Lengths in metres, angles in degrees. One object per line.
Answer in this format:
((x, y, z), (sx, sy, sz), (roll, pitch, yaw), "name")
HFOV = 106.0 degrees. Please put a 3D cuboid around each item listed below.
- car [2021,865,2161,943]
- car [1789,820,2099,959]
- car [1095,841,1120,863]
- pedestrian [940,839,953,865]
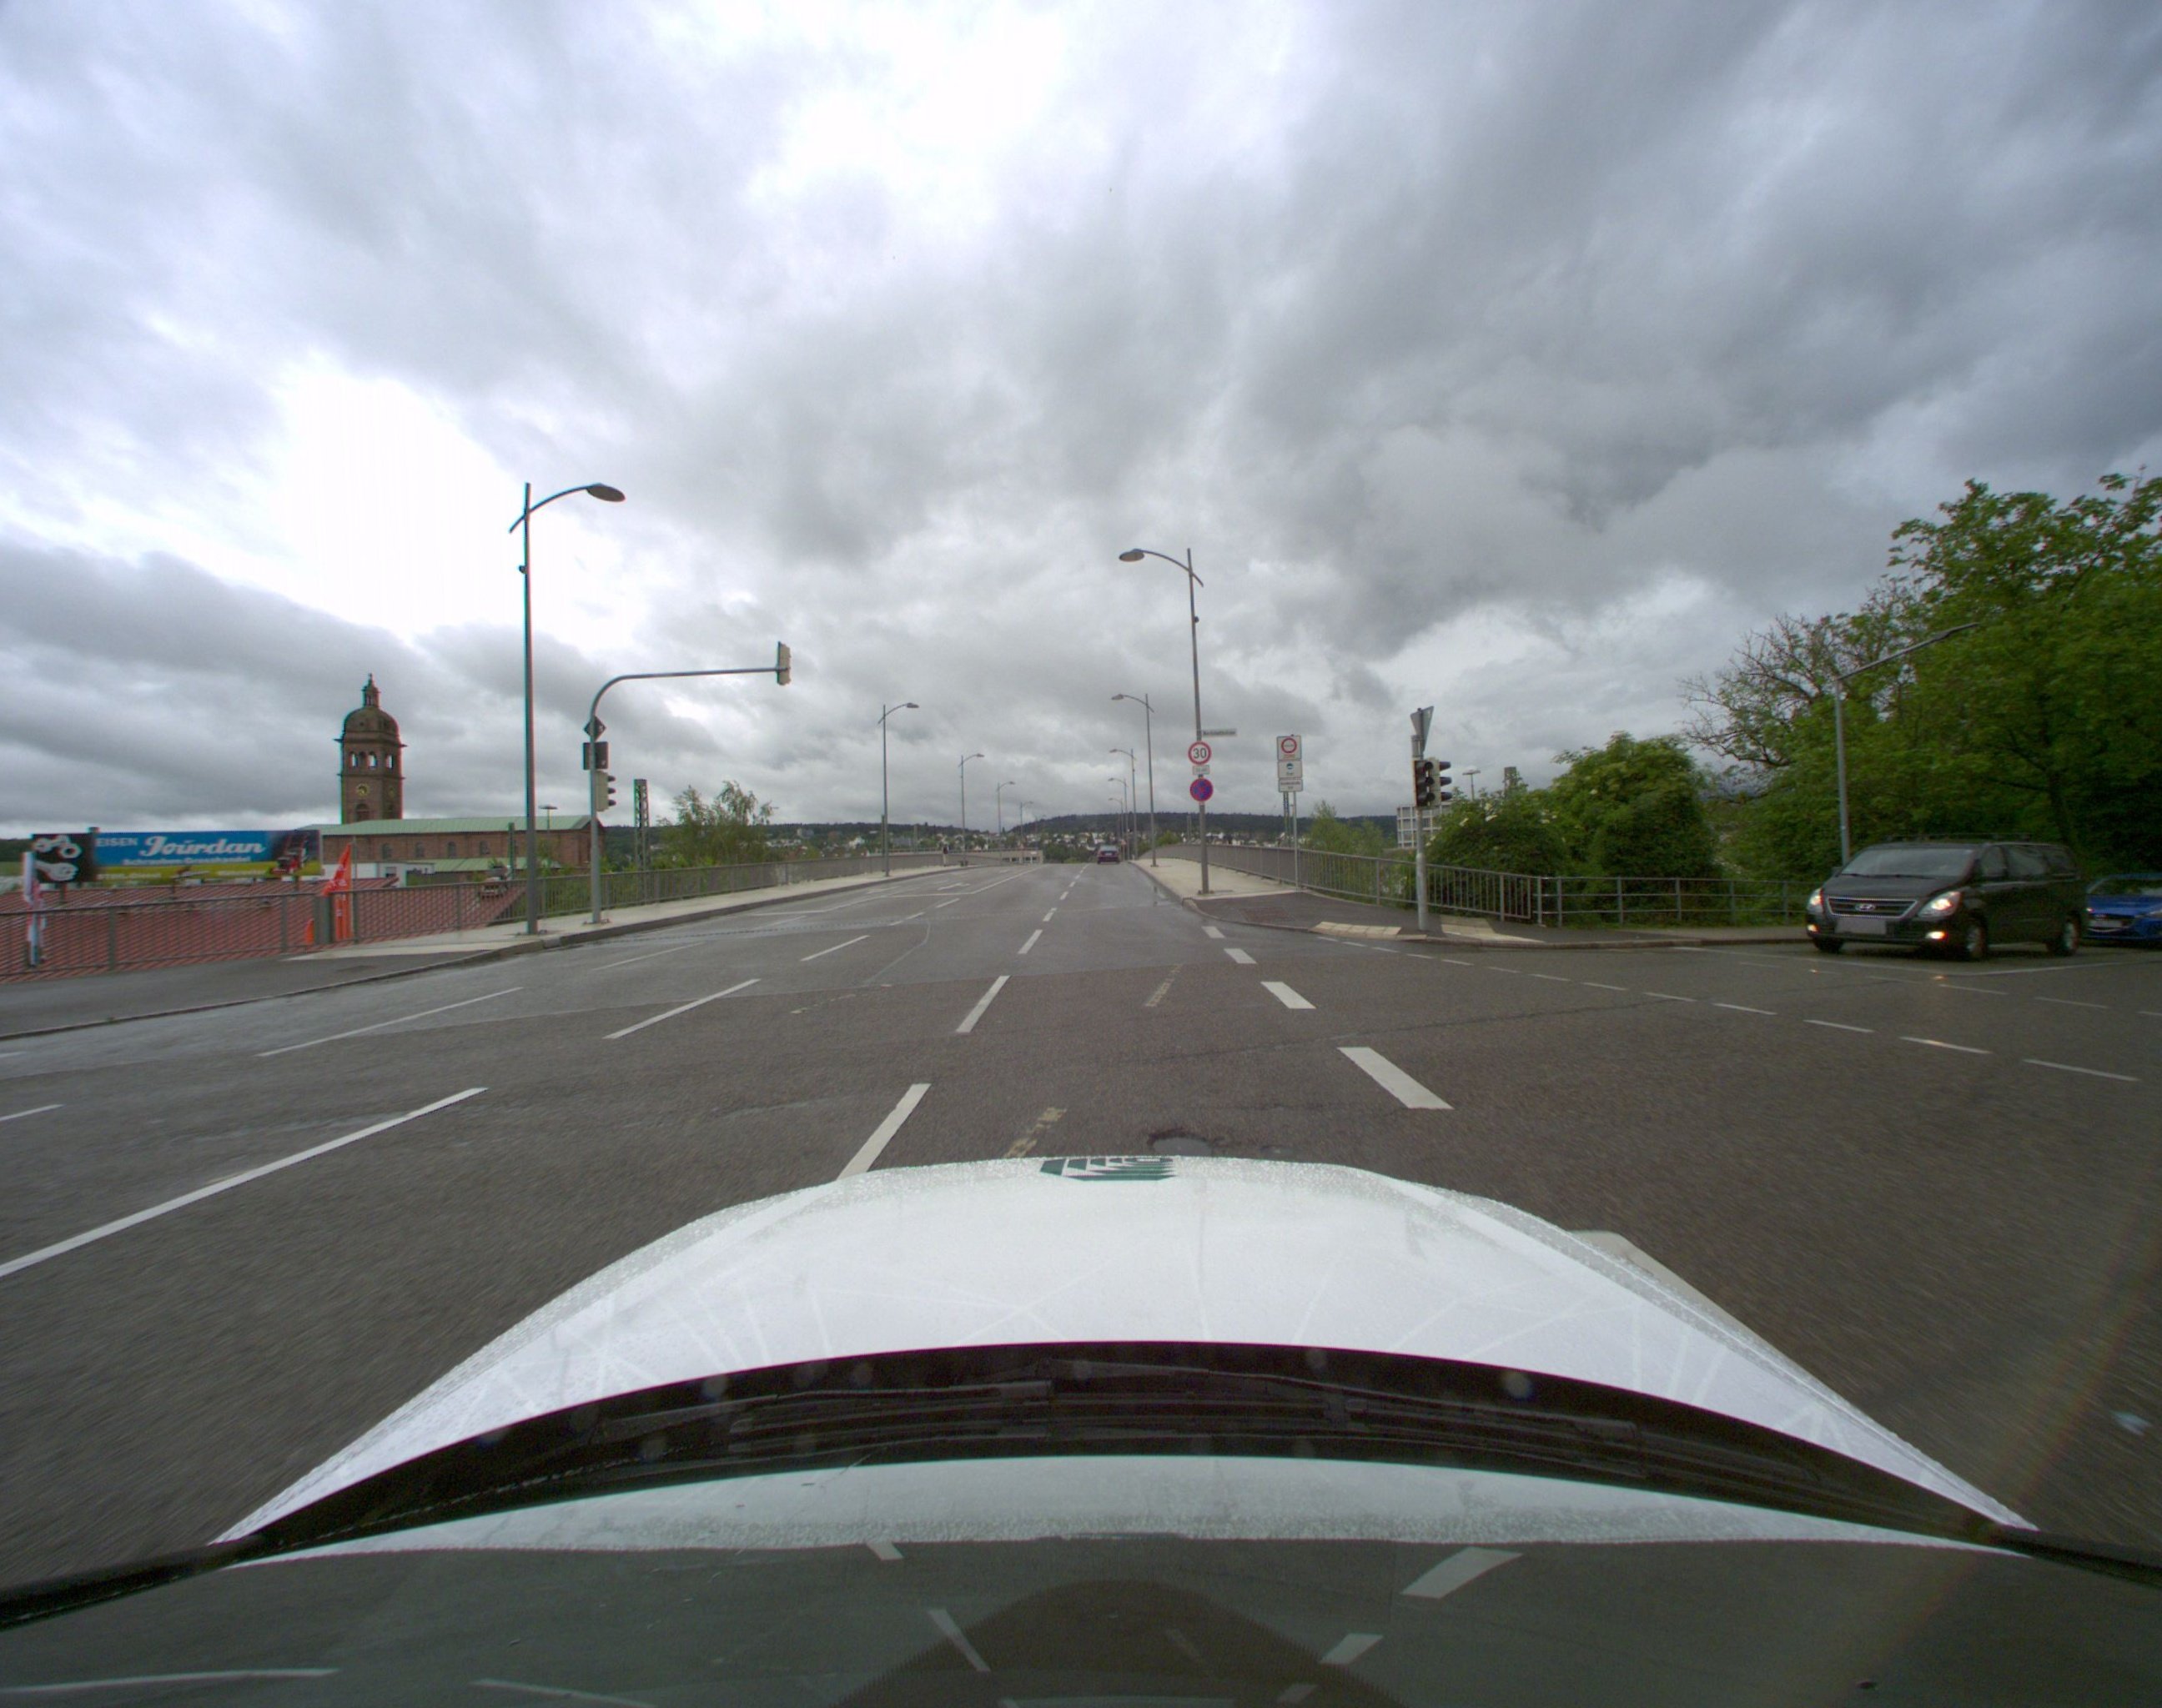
((21.448, 0.960, 16.442), (4.345, 1.435, 1.890), (0, -3, -22), "car")
((14.497, 0.562, 13.691), (4.761, 2.014, 1.985), (1, -1, -22), "car")
((2.005, -0.114, 61.662), (1.747, 1.479, 4.001), (-3, -2, 2), "car")
((-10.838, -0.155, 65.648), (0.753, 2.048, 0.892), (-2, -2, 1), "pedestrian")
